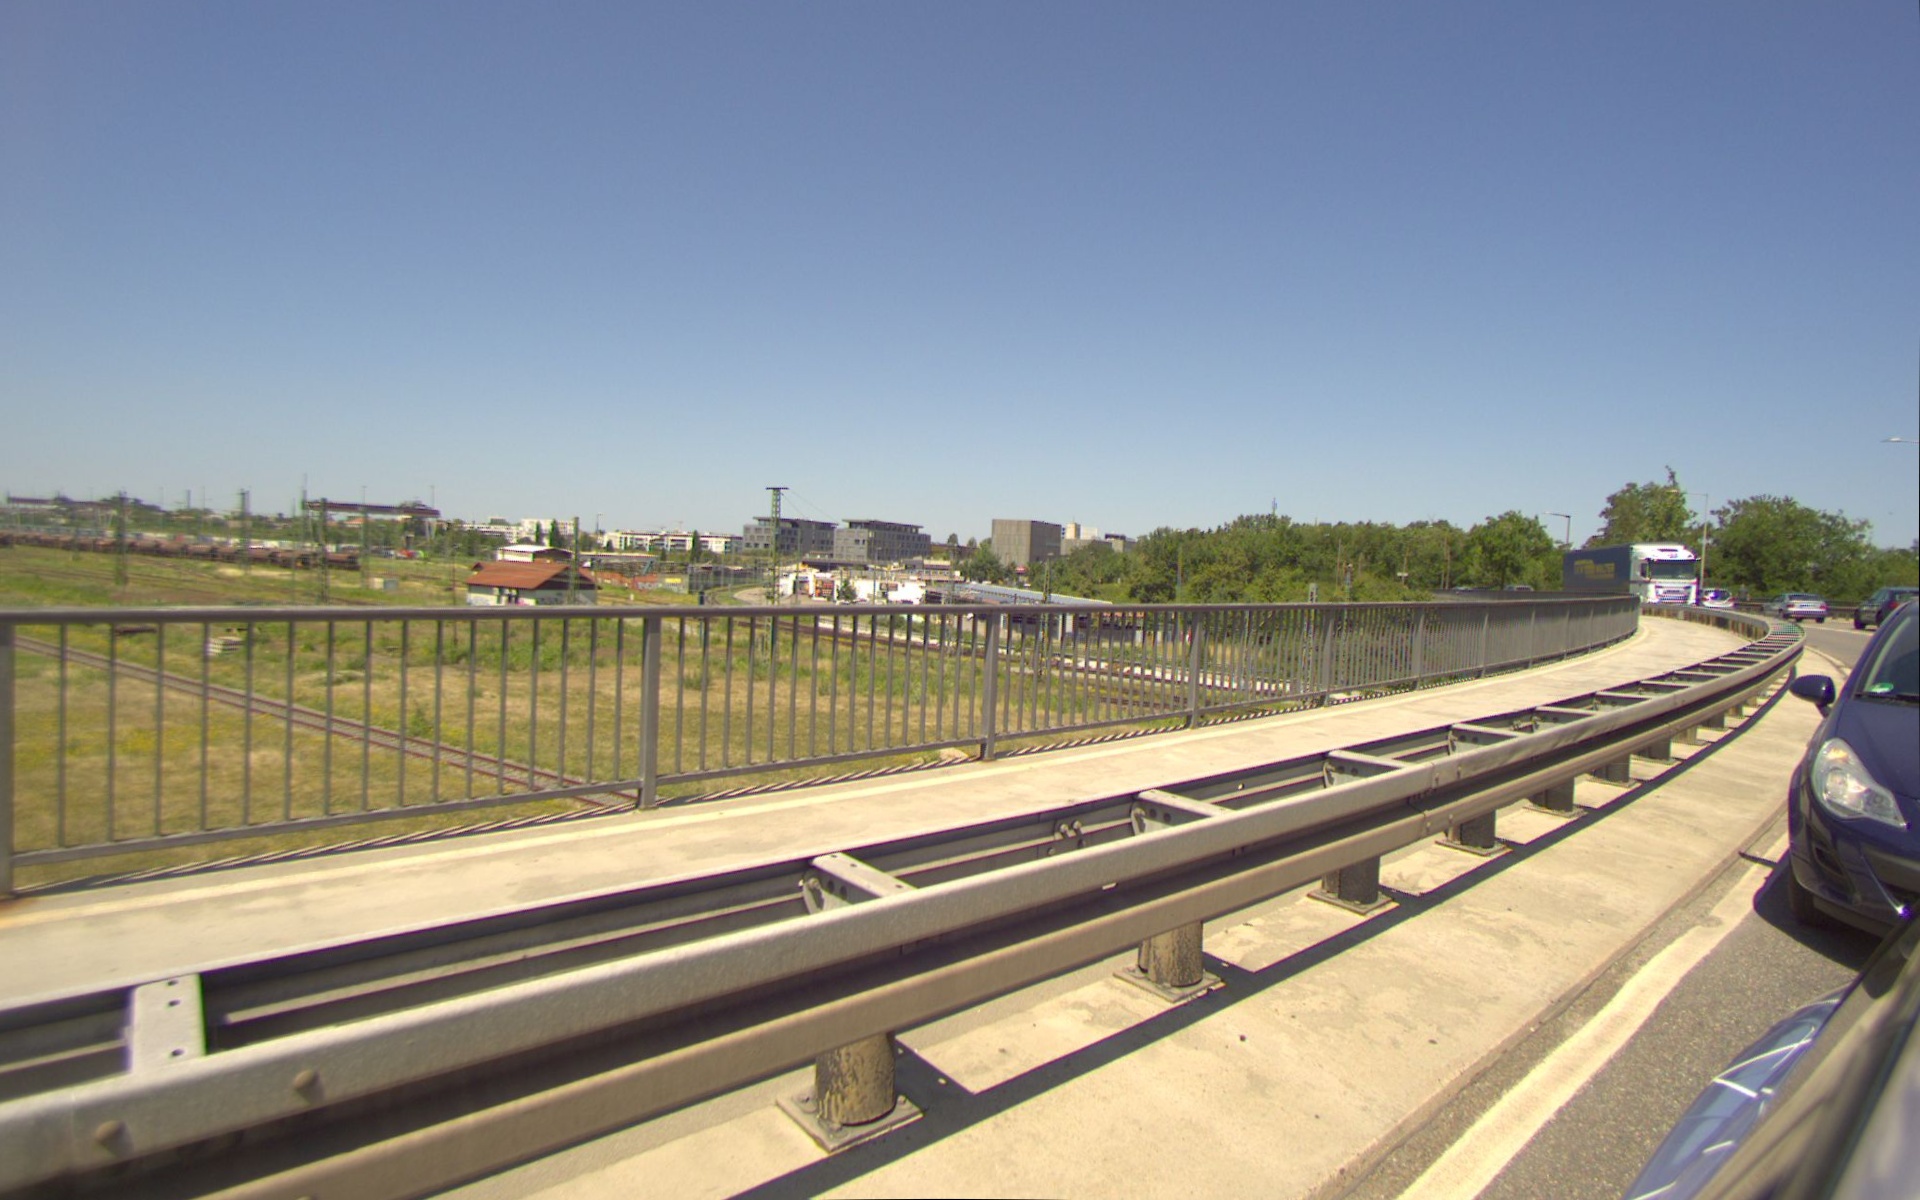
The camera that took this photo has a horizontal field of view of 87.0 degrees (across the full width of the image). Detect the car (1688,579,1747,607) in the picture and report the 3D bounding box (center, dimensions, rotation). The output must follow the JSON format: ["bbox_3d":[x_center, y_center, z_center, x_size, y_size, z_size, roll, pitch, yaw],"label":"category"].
[{"bbox_3d":[45.639,-0.430,61.072,1.721,1.599,4.148,1,2,21],"label":"car"}]

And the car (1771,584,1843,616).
[{"bbox_3d":[40.647,-0.019,48.670,1.685,1.393,3.965,1,2,26],"label":"car"}]

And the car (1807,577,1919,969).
[{"bbox_3d":[5.296,0.632,4.800,1.641,1.457,3.936,1,1,45],"label":"car"}]

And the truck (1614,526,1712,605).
[{"bbox_3d":[40.572,-1.928,58.671,2.660,4.281,6.803,-1,1,17],"label":"truck"}]

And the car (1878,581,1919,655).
[{"bbox_3d":[21.137,0.374,21.609,1.785,1.473,4.464,2,1,36],"label":"car"}]

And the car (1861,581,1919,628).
[{"bbox_3d":[35.356,0.150,37.589,1.790,1.661,4.260,1,1,27],"label":"car"}]

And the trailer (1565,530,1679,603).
[{"bbox_3d":[42.683,-2.112,65.766,2.665,4.287,12.647,0,1,17],"label":"trailer"}]
